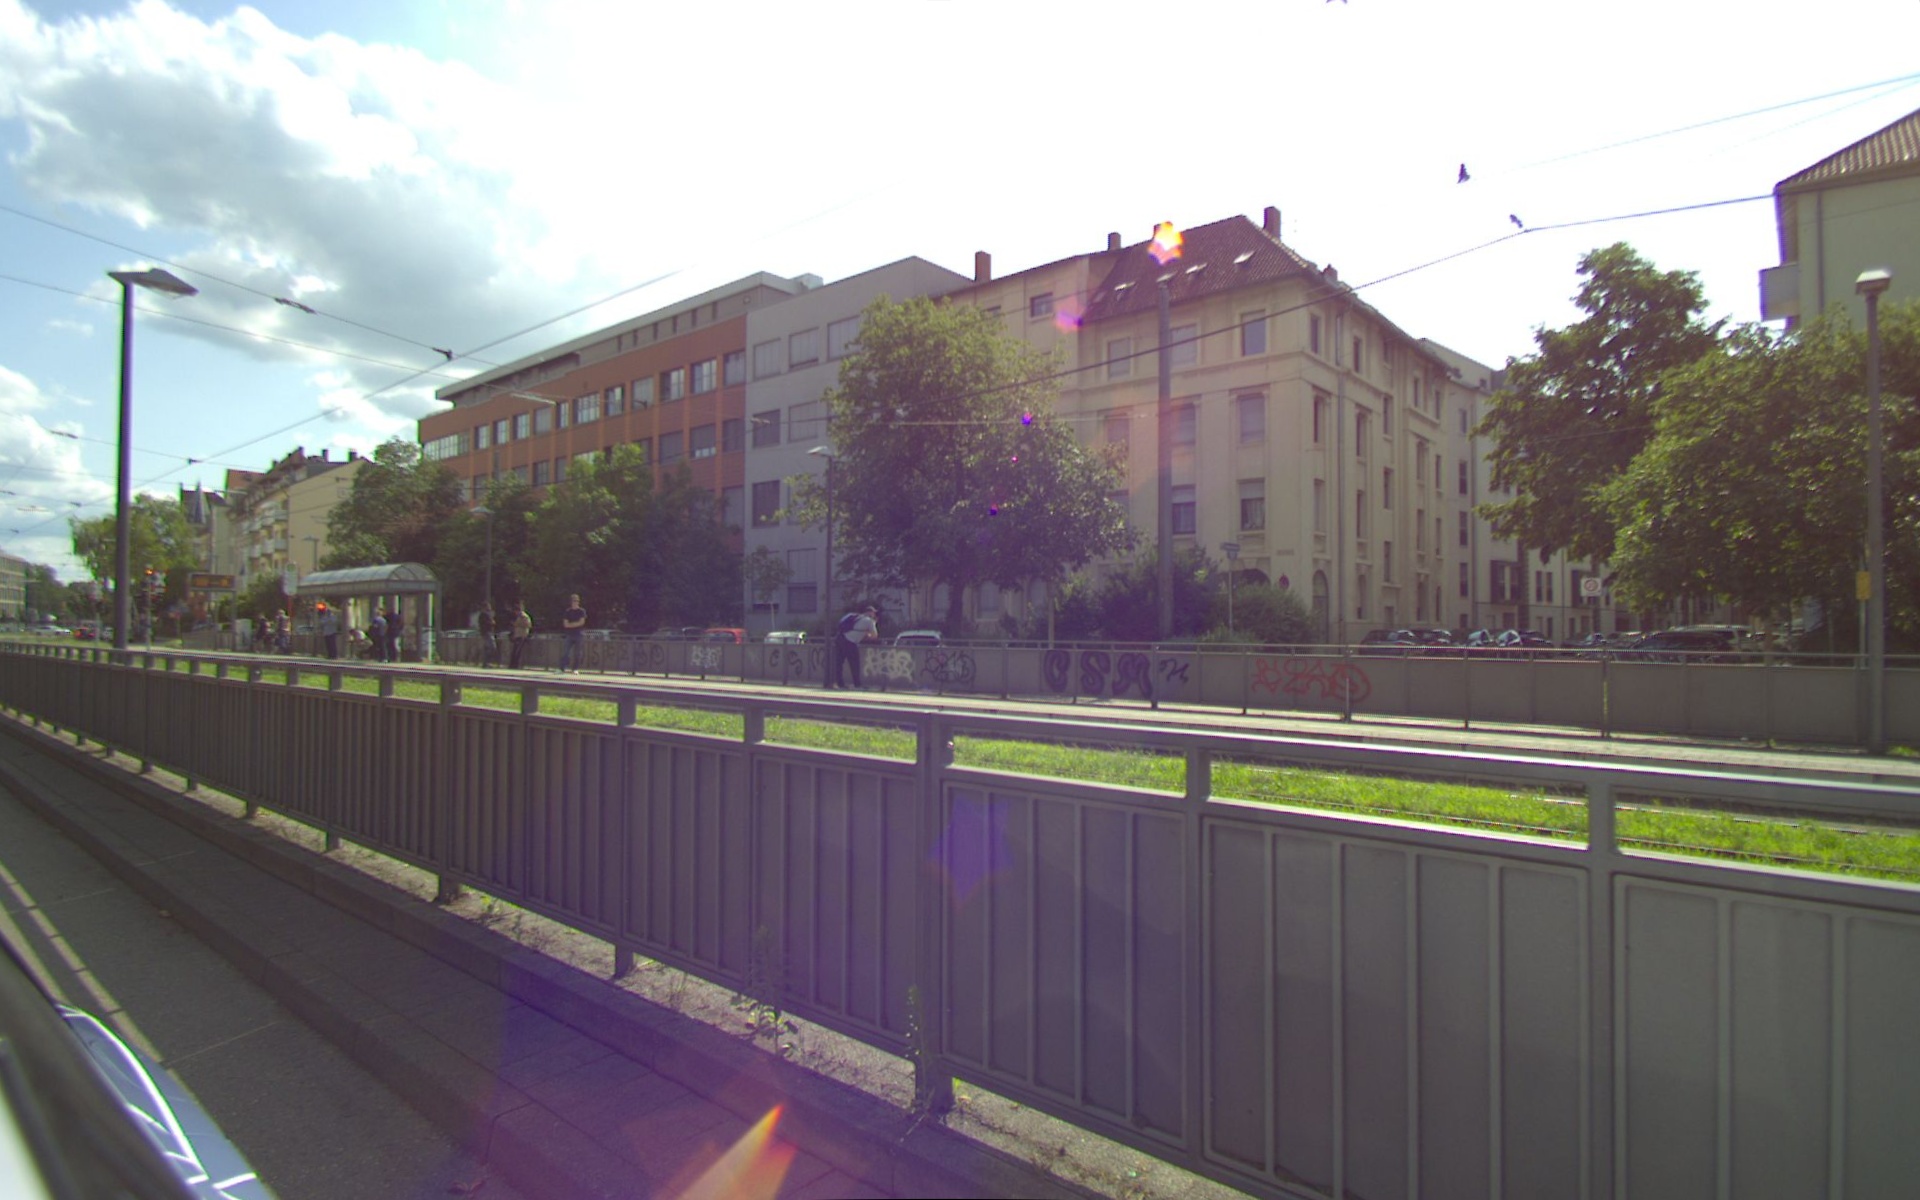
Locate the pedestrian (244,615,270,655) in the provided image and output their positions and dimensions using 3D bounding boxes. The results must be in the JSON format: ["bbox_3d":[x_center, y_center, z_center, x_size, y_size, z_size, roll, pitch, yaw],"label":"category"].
[{"bbox_3d":[-29.965,1.493,43.155,0.798,1.712,0.659,-1,-2,38],"label":"pedestrian"}]

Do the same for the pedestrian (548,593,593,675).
[{"bbox_3d":[-9.251,0.790,24.029,0.639,1.906,0.742,1,0,43],"label":"pedestrian"}]

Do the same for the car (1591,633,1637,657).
[{"bbox_3d":[43.744,3.021,67.678,1.825,1.490,3.941,-1,-3,45],"label":"car"}]

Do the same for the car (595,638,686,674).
[{"bbox_3d":[-12.595,2.187,40.157,1.773,1.159,3.986,-1,0,11],"label":"car"}]

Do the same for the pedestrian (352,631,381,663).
[{"bbox_3d":[-20.121,1.607,34.299,0.562,1.039,0.647,2,-2,38],"label":"pedestrian"}]

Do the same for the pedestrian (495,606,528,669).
[{"bbox_3d":[-12.257,1.022,27.645,0.624,1.687,0.600,-1,-2,40],"label":"pedestrian"}]

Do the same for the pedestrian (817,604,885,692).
[{"bbox_3d":[-2.019,0.880,18.803,0.798,1.590,0.979,-1,-2,38],"label":"pedestrian"}]

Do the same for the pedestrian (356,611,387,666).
[{"bbox_3d":[-17.801,1.155,30.627,0.556,1.645,0.593,-1,-3,26],"label":"pedestrian"}]

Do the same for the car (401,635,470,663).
[{"bbox_3d":[-26.401,2.452,51.068,1.583,1.314,3.247,0,-2,5],"label":"car"}]

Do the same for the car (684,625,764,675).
[{"bbox_3d":[-8.304,1.730,35.967,1.809,1.652,4.135,1,-2,1],"label":"car"}]

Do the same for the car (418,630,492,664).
[{"bbox_3d":[-24.297,2.247,48.801,1.568,1.431,3.302,-1,0,10],"label":"car"}]

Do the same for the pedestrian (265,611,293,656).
[{"bbox_3d":[-26.540,1.311,39.438,0.798,1.737,0.632,-1,-2,38],"label":"pedestrian"}]

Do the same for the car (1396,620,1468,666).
[{"bbox_3d":[20.362,1.866,43.613,1.823,1.845,3.945,-1,-3,41],"label":"car"}]

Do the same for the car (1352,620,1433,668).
[{"bbox_3d":[16.989,1.732,39.685,1.823,1.746,3.945,-1,-3,41],"label":"car"}]

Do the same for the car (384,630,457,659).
[{"bbox_3d":[-28.685,2.346,53.947,1.629,1.508,3.996,0,-2,3],"label":"car"}]

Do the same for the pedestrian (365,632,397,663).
[{"bbox_3d":[-19.061,1.560,33.323,0.562,1.002,0.698,-1,-3,38],"label":"pedestrian"}]

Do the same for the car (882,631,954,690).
[{"bbox_3d":[-1.150,1.707,29.454,1.899,1.576,4.152,1,-2,0],"label":"car"}]

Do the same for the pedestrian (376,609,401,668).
[{"bbox_3d":[-18.328,1.229,32.442,0.623,1.841,0.438,-1,-2,38],"label":"pedestrian"}]

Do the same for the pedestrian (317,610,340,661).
[{"bbox_3d":[-21.734,1.203,34.823,0.623,1.739,0.481,-1,-1,39],"label":"pedestrian"}]

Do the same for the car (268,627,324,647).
[{"bbox_3d":[-53.555,3.022,81.635,3.558,1.491,1.777,2,-6,-43],"label":"car"}]

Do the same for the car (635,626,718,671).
[{"bbox_3d":[-10.519,1.773,37.828,1.590,1.580,3.991,-1,-2,7],"label":"car"}]

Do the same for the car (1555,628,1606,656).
[{"bbox_3d":[38.261,2.622,62.400,1.825,1.639,3.941,-1,-3,45],"label":"car"}]

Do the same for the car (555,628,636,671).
[{"bbox_3d":[-14.872,1.978,41.514,1.651,1.540,3.995,-1,0,4],"label":"car"}]

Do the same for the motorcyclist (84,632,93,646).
[{"bbox_3d":[-89.620,3.983,104.075,0.693,1.368,0.654,-1,0,43],"label":"motorcyclist"}]

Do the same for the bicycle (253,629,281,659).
[{"bbox_3d":[-26.901,1.686,39.277,0.653,1.122,1.880,4,-4,-41],"label":"bicycle"}]

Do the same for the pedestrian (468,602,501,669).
[{"bbox_3d":[-12.719,0.953,27.085,0.599,1.767,0.626,1,-1,-9],"label":"pedestrian"}]

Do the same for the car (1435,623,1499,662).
[{"bbox_3d":[23.865,2.005,47.592,1.823,1.731,3.945,-1,-3,41],"label":"car"}]

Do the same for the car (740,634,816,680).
[{"bbox_3d":[-5.987,1.840,33.709,1.791,1.402,4.023,-1,-2,0],"label":"car"}]

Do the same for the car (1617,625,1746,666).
[{"bbox_3d":[30.223,1.895,42.471,3.949,1.630,1.870,0,-2,5],"label":"car"}]

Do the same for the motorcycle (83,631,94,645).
[{"bbox_3d":[-89.565,3.897,103.981,2.010,1.414,0.626,-1,0,43],"label":"motorcycle"}]

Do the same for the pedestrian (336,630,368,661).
[{"bbox_3d":[-20.435,1.533,34.017,0.623,1.039,0.713,-1,-3,38],"label":"pedestrian"}]

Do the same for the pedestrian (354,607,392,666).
[{"bbox_3d":[-18.045,1.114,31.126,1.035,1.756,0.626,-1,-2,38],"label":"pedestrian"}]

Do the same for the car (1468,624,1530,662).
[{"bbox_3d":[27.677,2.224,51.928,1.824,1.845,3.942,-1,-3,44],"label":"car"}]

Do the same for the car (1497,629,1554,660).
[{"bbox_3d":[31.078,2.449,55.609,1.824,1.615,3.942,-1,-3,44],"label":"car"}]

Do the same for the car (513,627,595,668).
[{"bbox_3d":[-17.268,1.999,43.284,1.651,1.540,3.995,-1,0,4],"label":"car"}]

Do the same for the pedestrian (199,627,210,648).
[{"bbox_3d":[-60.631,3.023,81.214,0.481,1.723,0.641,-2,-3,41],"label":"pedestrian"}]
